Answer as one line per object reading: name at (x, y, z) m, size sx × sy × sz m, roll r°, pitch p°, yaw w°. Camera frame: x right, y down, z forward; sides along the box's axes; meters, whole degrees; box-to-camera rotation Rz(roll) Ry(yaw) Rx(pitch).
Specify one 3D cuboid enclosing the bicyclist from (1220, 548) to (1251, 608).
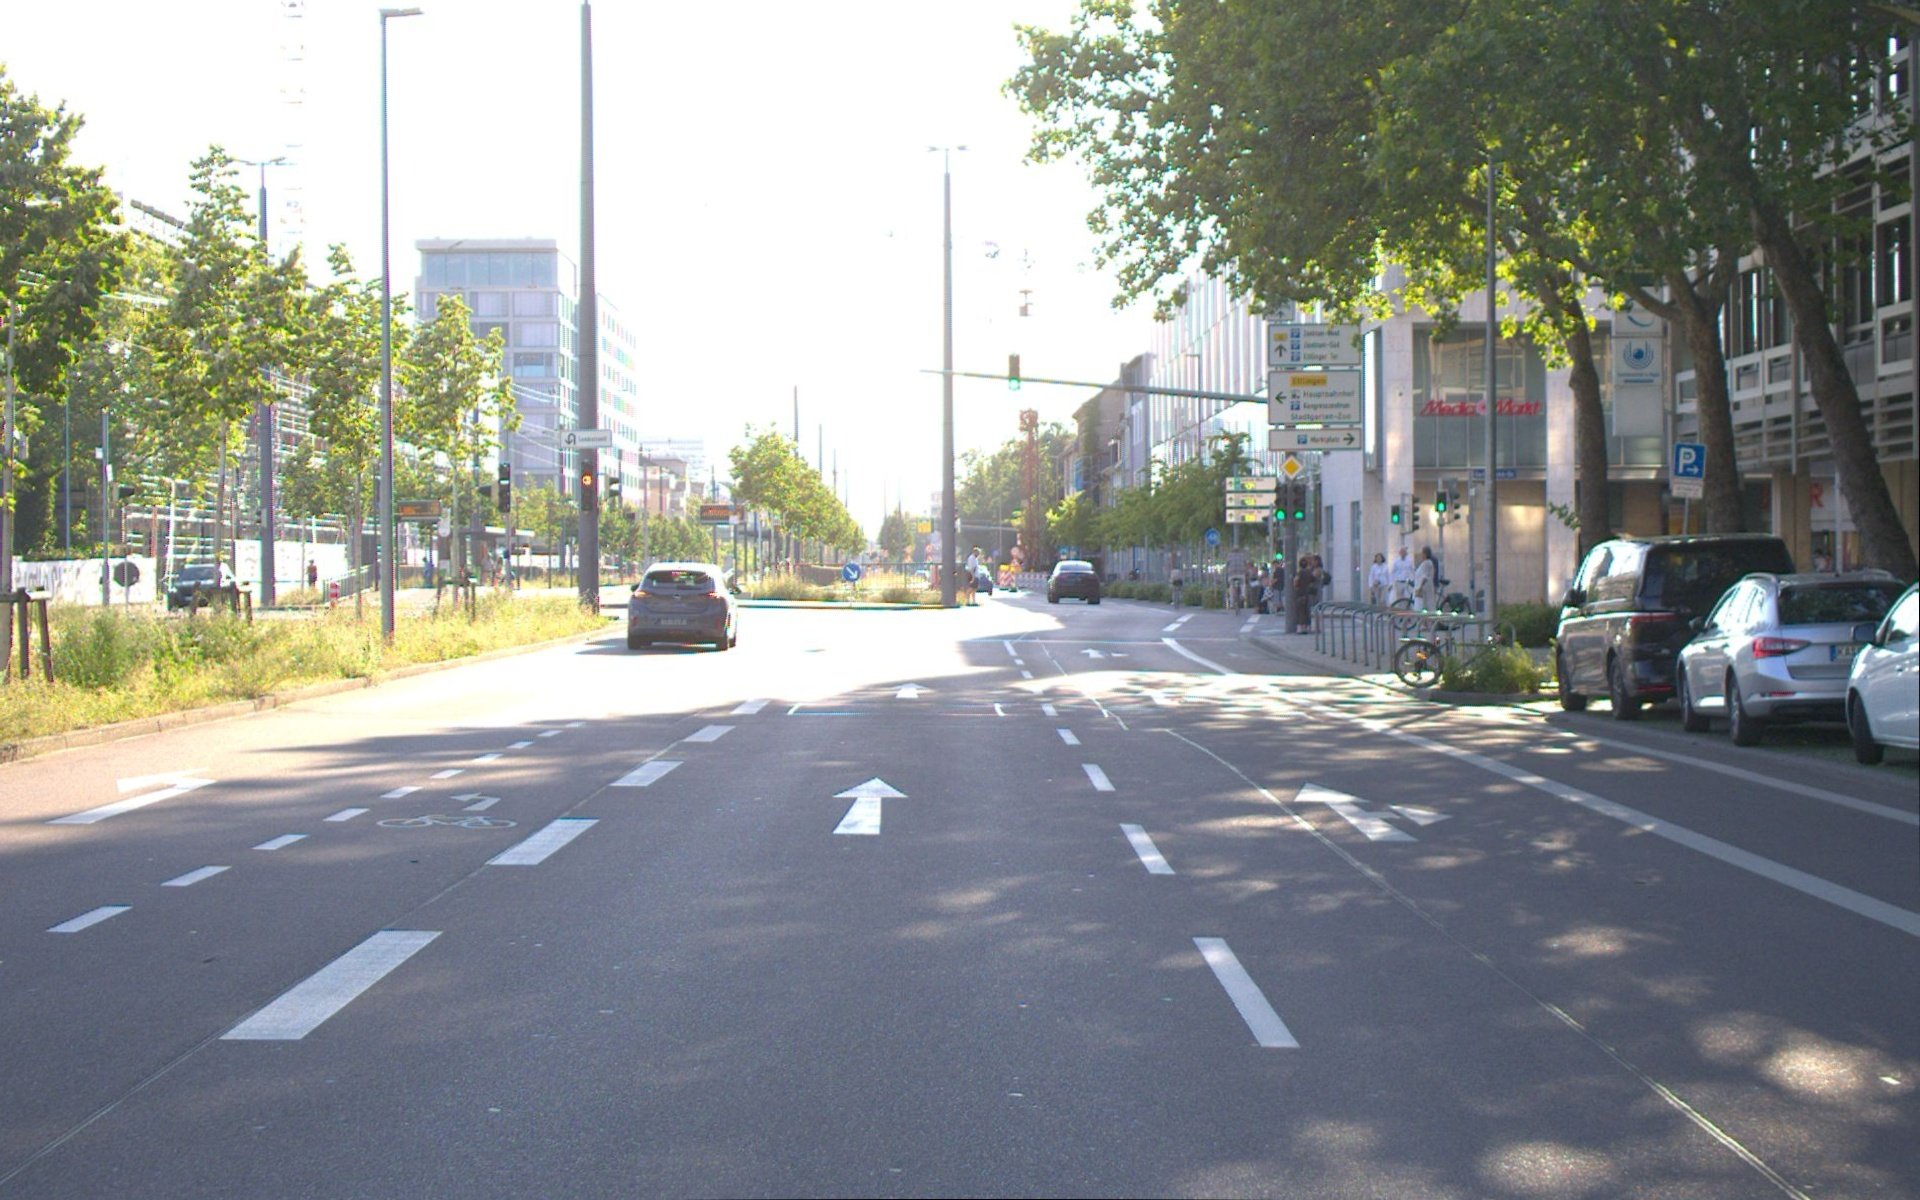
bicyclist at (7.376, -0.592, 91.890) m, size 0.800 × 1.596 × 0.785 m, roll 0°, pitch 1°, yaw 6°

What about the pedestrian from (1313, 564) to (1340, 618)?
pedestrian at (11.938, -0.301, 111.929) m, size 0.817 × 1.728 × 0.790 m, roll 0°, pitch 1°, yaw 3°

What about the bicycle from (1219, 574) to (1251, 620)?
bicycle at (7.361, -0.094, 91.833) m, size 0.800 × 1.200 × 2.263 m, roll 0°, pitch 1°, yaw 6°

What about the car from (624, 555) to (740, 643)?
car at (-4.735, -0.046, 58.970) m, size 1.776 × 1.423 × 4.000 m, roll 1°, pitch 1°, yaw -2°

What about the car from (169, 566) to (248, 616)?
car at (-26.784, -0.335, 122.681) m, size 1.993 × 1.770 × 4.000 m, roll 0°, pitch 1°, yaw -1°

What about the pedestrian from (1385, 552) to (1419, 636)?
pedestrian at (11.021, -0.154, 85.699) m, size 0.766 × 2.053 × 0.797 m, roll -2°, pitch 1°, yaw 6°

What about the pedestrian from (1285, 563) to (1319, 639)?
pedestrian at (7.387, 0.023, 74.188) m, size 0.634 × 1.602 × 0.570 m, roll -2°, pitch 1°, yaw 1°

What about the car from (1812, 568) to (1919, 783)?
car at (7.575, 0.507, 25.142) m, size 1.681 × 1.473 × 3.874 m, roll -2°, pitch 1°, yaw 0°

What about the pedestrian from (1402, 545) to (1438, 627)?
pedestrian at (9.696, -0.297, 72.516) m, size 0.634 × 1.697 × 0.570 m, roll -2°, pitch 1°, yaw 1°

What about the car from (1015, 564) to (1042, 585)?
car at (4.788, -1.813, 240.598) m, size 1.703 × 1.423 × 3.926 m, roll 0°, pitch 1°, yaw -2°

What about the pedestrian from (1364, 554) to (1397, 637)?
pedestrian at (10.582, -0.107, 86.562) m, size 0.766 × 2.053 × 0.797 m, roll -2°, pitch 1°, yaw 6°

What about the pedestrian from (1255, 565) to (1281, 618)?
pedestrian at (10.035, -0.273, 111.884) m, size 0.817 × 1.728 × 0.790 m, roll 0°, pitch 1°, yaw 3°

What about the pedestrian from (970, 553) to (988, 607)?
pedestrian at (0.611, -0.653, 111.066) m, size 0.492 × 1.737 × 0.447 m, roll 0°, pitch 1°, yaw -10°

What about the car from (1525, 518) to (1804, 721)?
car at (7.510, 0.165, 37.165) m, size 1.829 × 1.964 × 5.322 m, roll -2°, pitch 1°, yaw 0°

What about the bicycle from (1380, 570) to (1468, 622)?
bicycle at (9.923, -0.087, 73.560) m, size 1.803 × 1.082 × 0.479 m, roll -1°, pitch 1°, yaw 1°

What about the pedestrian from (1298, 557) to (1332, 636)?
pedestrian at (7.724, -0.081, 74.802) m, size 0.634 × 1.697 × 0.570 m, roll -2°, pitch 1°, yaw 1°

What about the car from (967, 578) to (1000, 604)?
car at (1.367, -0.539, 201.486) m, size 1.759 × 1.480 × 3.850 m, roll 0°, pitch 1°, yaw -2°

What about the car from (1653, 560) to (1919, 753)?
car at (7.446, 0.437, 30.852) m, size 1.682 × 1.509 × 5.058 m, roll -2°, pitch 1°, yaw 4°

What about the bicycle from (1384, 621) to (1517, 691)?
bicycle at (6.434, 0.731, 45.127) m, size 1.692 × 0.864 × 0.572 m, roll -1°, pitch 0°, yaw 8°

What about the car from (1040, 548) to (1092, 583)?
car at (4.412, -1.452, 143.530) m, size 1.940 × 1.423 × 3.926 m, roll 0°, pitch 1°, yaw -2°
